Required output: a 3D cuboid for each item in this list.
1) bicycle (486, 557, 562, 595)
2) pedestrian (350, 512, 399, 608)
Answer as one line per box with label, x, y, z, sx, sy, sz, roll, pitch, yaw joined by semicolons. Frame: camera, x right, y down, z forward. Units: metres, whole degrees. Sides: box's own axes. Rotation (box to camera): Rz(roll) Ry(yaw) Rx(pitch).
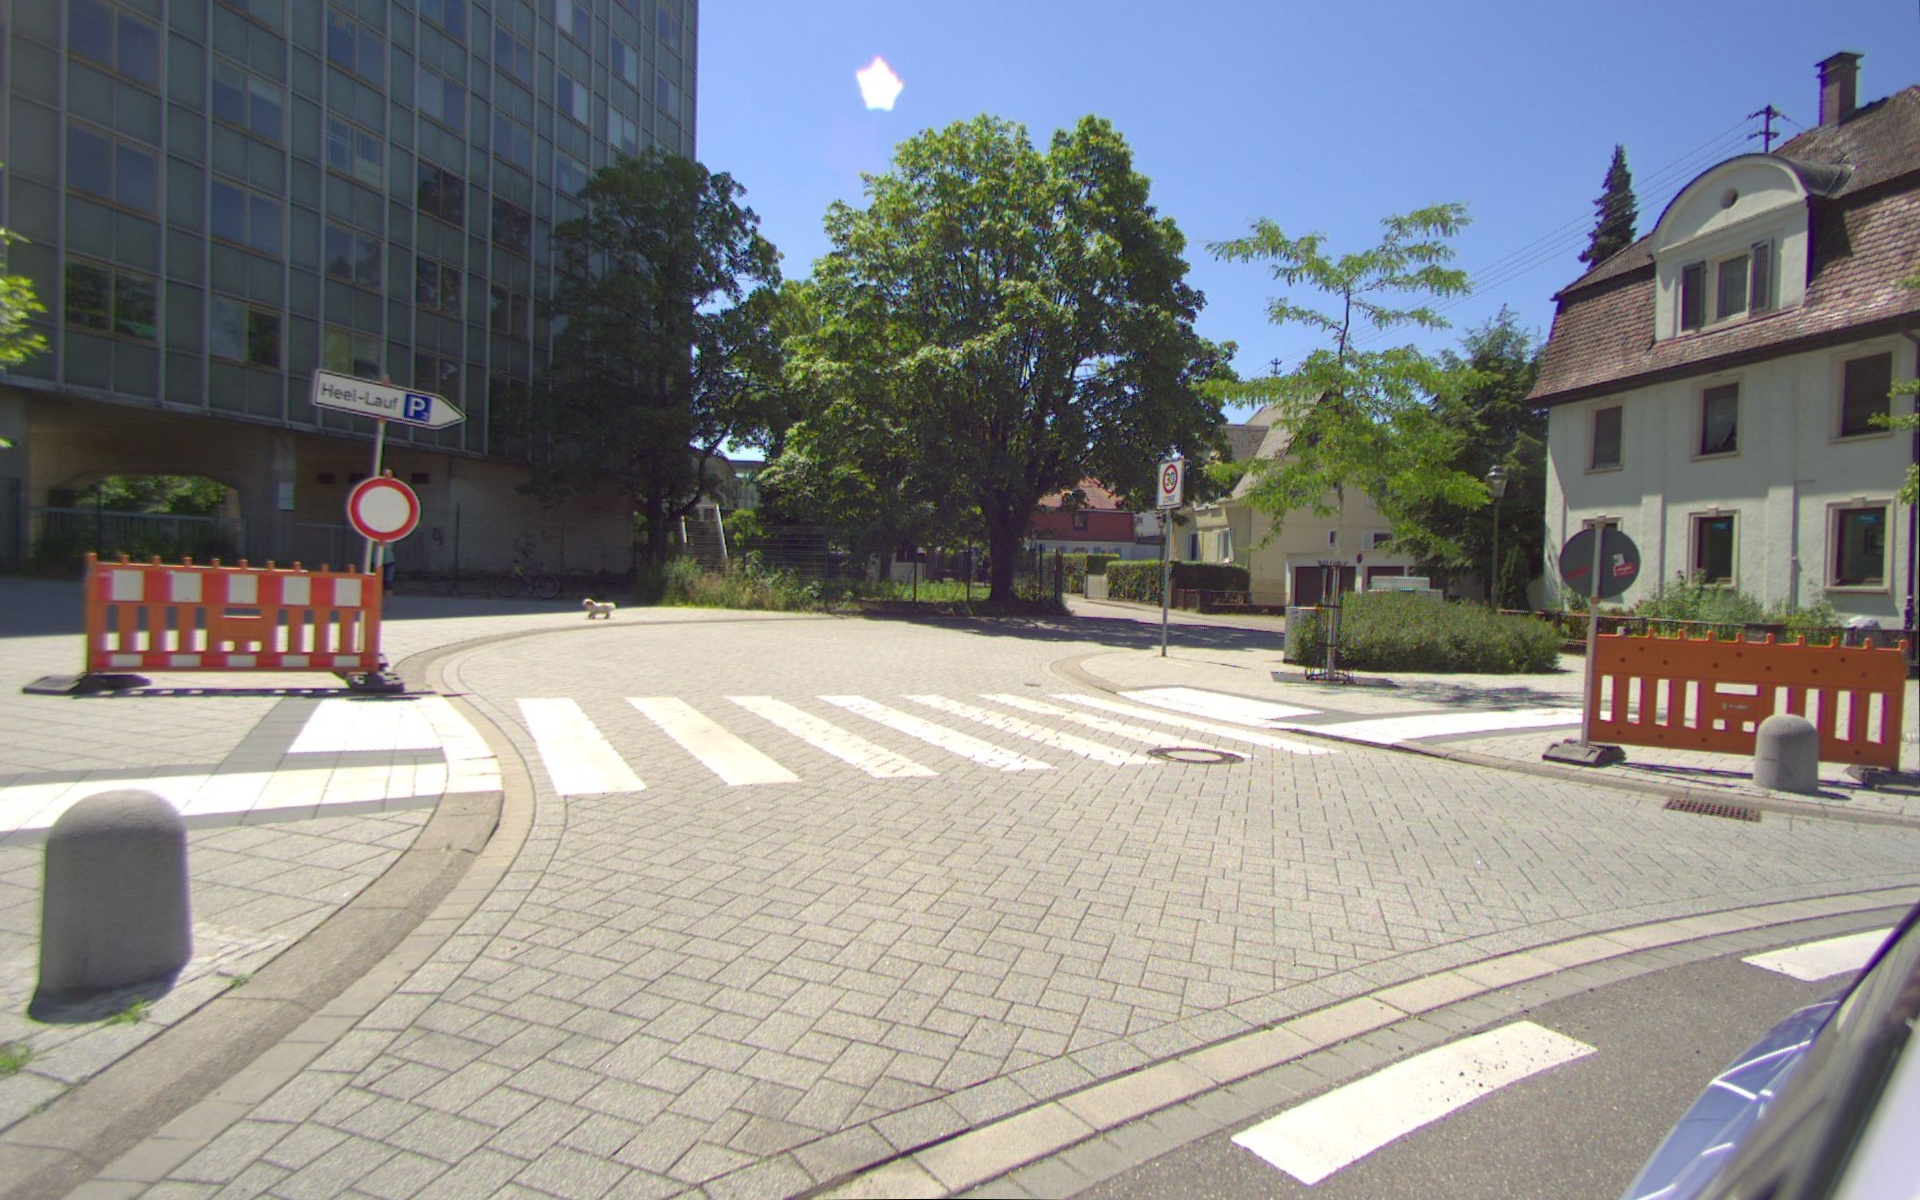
bicycle;-11.012;-0.617;25.596;1.719;0.918;0.449;1;2;-3
pedestrian;-10.874;-0.750;18.803;0.482;1.729;0.562;5;3;23
